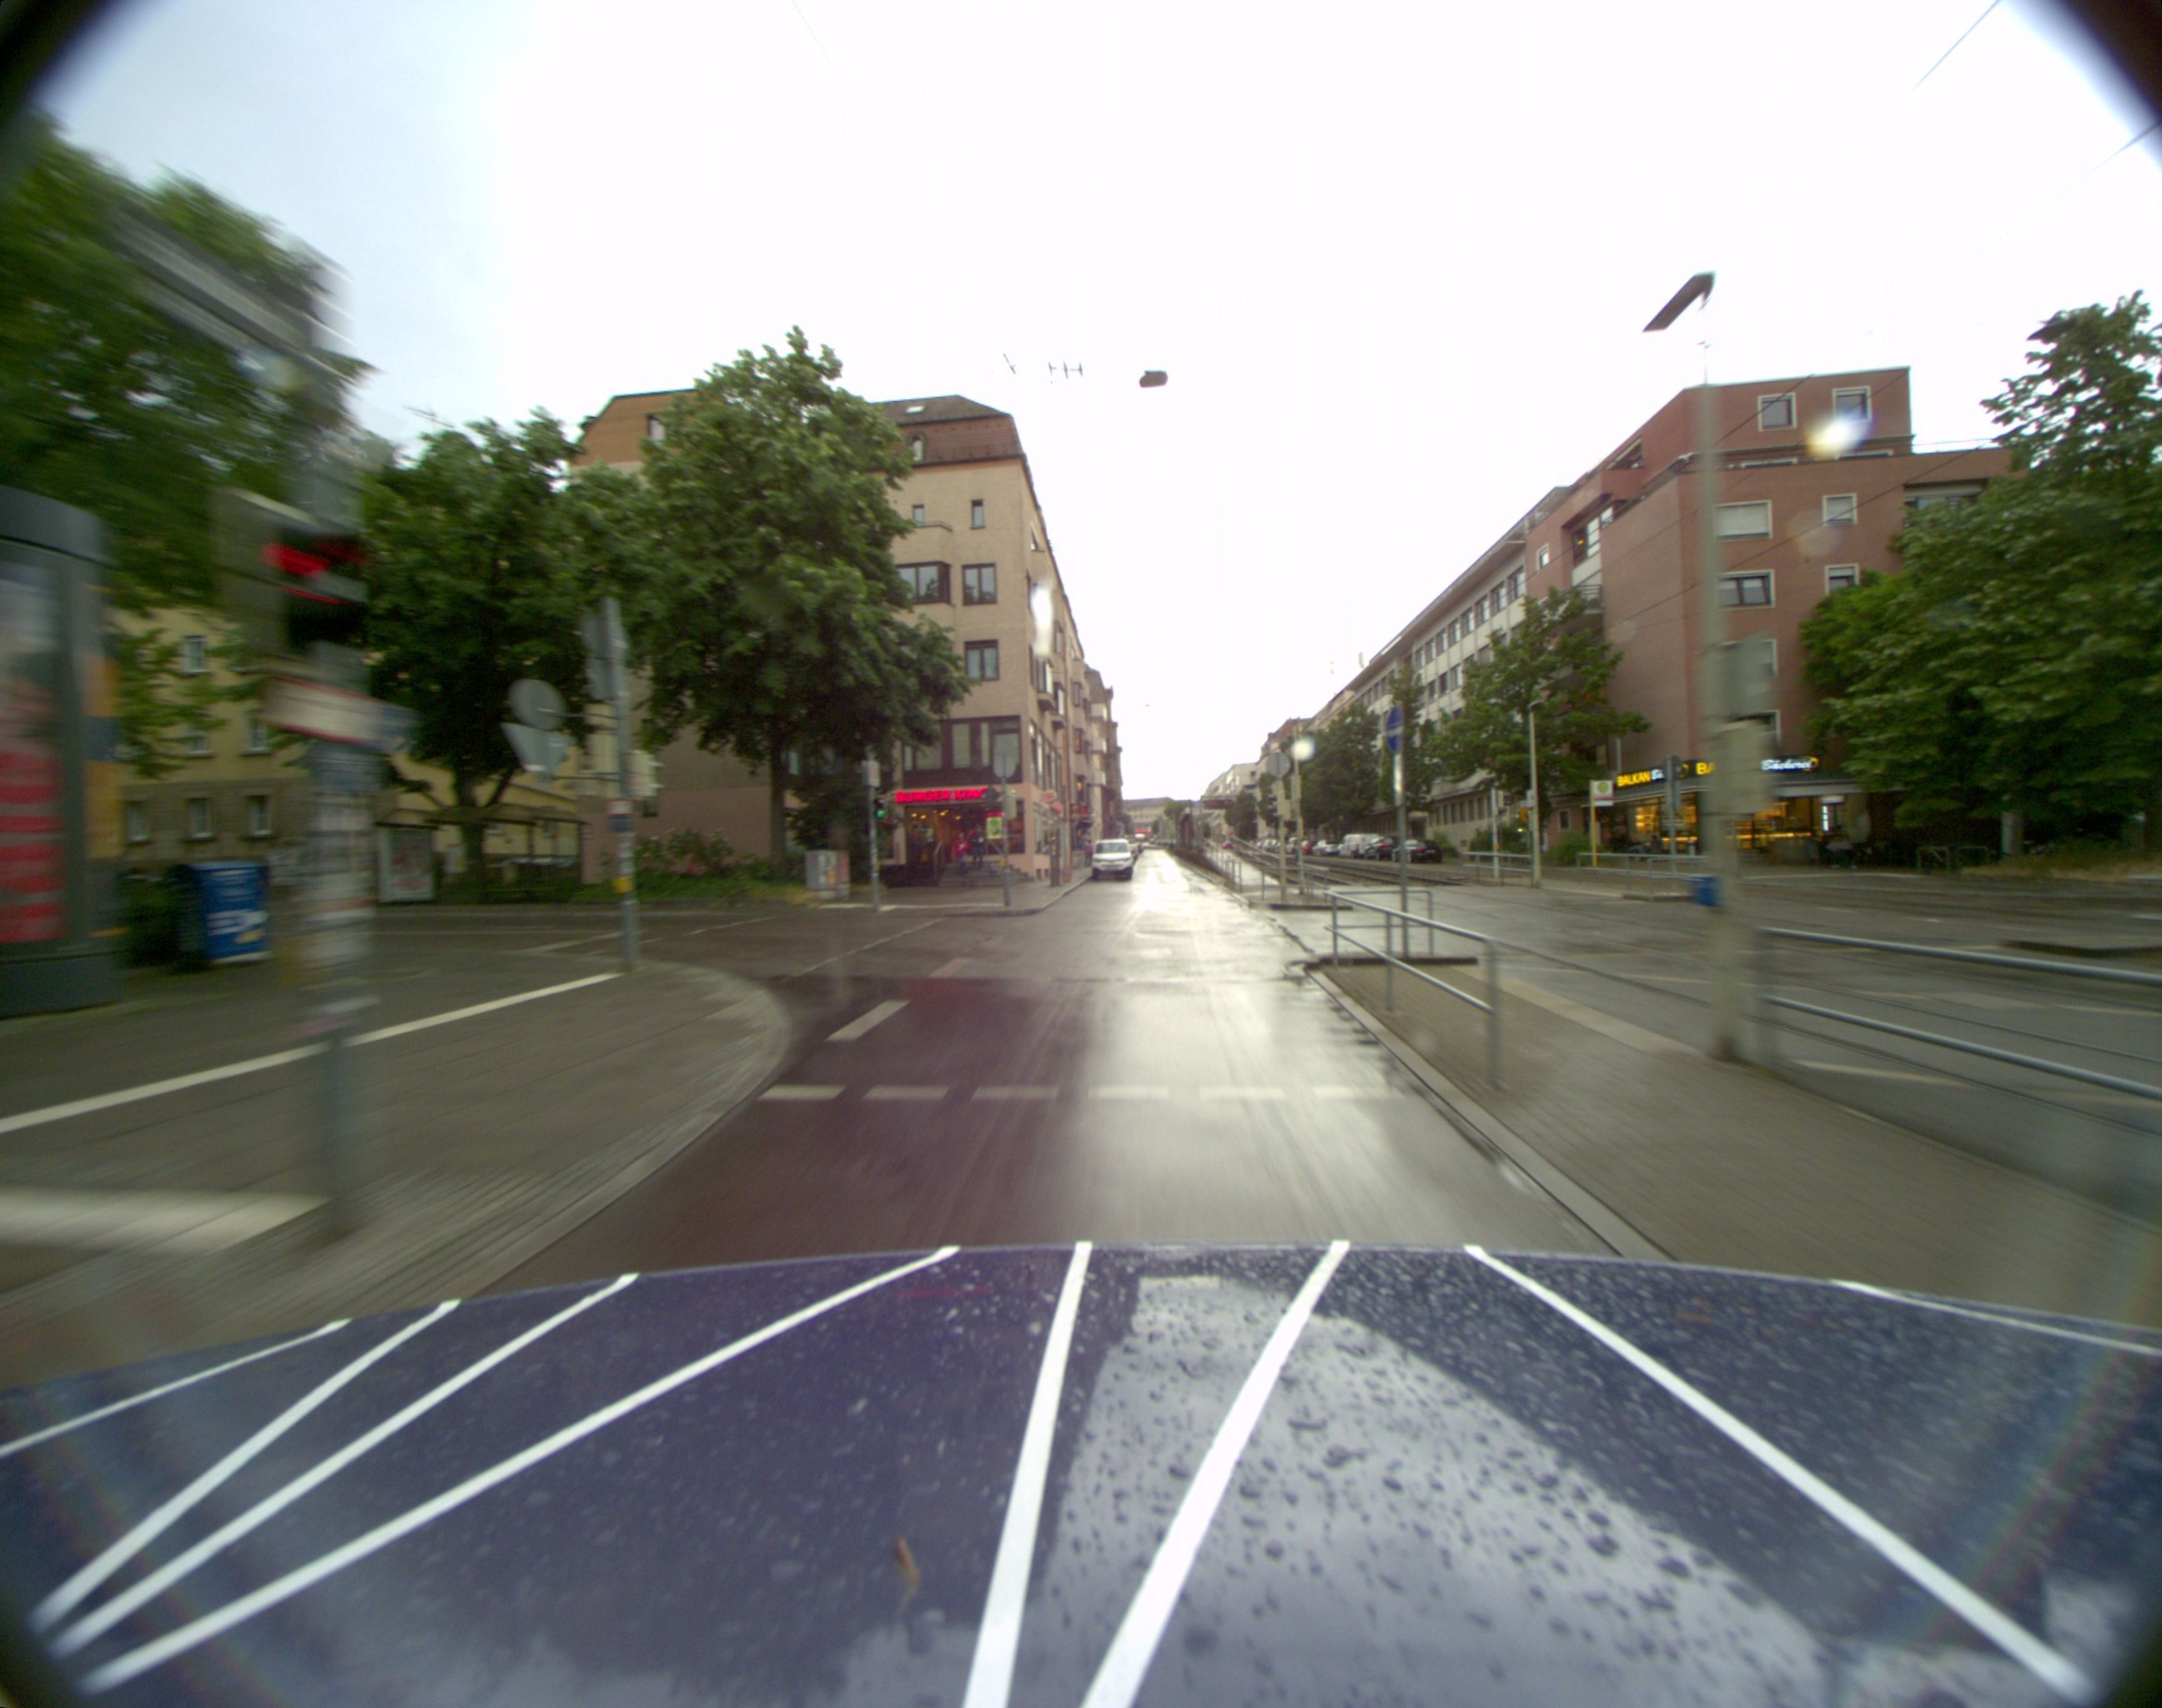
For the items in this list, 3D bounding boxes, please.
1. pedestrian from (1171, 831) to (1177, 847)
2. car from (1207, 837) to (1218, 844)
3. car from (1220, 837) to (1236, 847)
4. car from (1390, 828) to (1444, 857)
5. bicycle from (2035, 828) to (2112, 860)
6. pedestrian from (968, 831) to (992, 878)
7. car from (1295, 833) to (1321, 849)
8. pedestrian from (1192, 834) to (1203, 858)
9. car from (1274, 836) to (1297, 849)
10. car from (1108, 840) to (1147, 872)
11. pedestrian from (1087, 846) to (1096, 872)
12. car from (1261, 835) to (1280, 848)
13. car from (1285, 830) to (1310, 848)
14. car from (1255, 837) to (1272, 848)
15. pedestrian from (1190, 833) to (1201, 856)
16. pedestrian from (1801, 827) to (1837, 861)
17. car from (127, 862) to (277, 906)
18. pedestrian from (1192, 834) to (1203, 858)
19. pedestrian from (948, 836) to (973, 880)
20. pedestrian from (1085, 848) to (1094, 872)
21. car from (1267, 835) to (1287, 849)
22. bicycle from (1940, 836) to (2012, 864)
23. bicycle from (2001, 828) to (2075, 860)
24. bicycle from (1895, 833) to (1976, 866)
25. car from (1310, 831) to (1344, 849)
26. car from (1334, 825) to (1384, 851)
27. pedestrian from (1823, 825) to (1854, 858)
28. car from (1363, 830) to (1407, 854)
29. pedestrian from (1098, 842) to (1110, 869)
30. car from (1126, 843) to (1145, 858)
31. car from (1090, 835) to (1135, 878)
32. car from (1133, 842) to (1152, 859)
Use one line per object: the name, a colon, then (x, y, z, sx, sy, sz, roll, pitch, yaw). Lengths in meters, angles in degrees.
pedestrian: (10.486, -1.655, 85.679, 0.653, 1.752, 0.882, -1, 1, 1)
car: (25.300, -2.548, 146.296, 1.642, 1.330, 3.736, -2, 1, 4)
car: (23.366, -1.942, 120.749, 1.696, 1.454, 4.530, -2, 1, 2)
car: (20.063, -0.715, 45.583, 1.642, 1.614, 4.372, -2, 1, 6)
bicycle: (29.557, -0.298, 22.665, 0.340, 0.898, 1.647, -1, 1, 8)
pedestrian: (-3.938, 0.016, 29.677, 0.597, 1.809, 0.665, -3, 2, -44)
car: (22.332, -1.262, 74.794, 1.642, 1.530, 3.804, -2, 1, 4)
pedestrian: (7.710, -0.536, 50.369, 0.584, 1.600, 0.701, -1, 1, 3)
car: (23.153, -1.281, 86.211, 1.642, 1.432, 4.730, -2, 1, 4)
car: (2.597, 0.081, 41.698, 1.910, 1.606, 4.414, -2, 1, 6)
pedestrian: (0.730, 0.345, 53.017, 0.530, 1.848, 0.556, -1, 1, -2)
car: (24.371, -1.581, 97.731, 1.661, 1.575, 4.339, -2, 1, 4)
car: (22.945, -1.602, 80.633, 1.677, 1.807, 4.433, -2, 1, 4)
car: (24.827, -1.533, 103.578, 1.717, 1.367, 4.459, -2, 1, 7)
pedestrian: (8.493, -0.704, 56.213, 0.712, 1.684, 0.701, -1, 1, 3)
pedestrian: (26.086, -0.358, 26.865, 0.677, 1.171, 0.608, -1, 1, 10)
car: (-31.533, 1.066, 27.311, 3.669, 1.447, 1.674, -1, 1, 6)
pedestrian: (7.598, -0.501, 49.667, 0.584, 1.549, 0.701, -1, 1, 3)
pedestrian: (-4.623, 0.153, 29.167, 0.627, 1.640, 0.723, -2, 2, -44)
pedestrian: (0.582, 0.434, 53.589, 0.546, 1.671, 0.595, -1, 1, -2)
car: (23.573, -1.425, 91.439, 1.642, 1.529, 4.023, -2, 1, 6)
bicycle: (26.922, -0.132, 22.895, 0.340, 0.811, 1.647, -1, 1, 5)
bicycle: (28.620, -0.308, 22.760, 0.340, 0.905, 1.647, -1, 1, 8)
bicycle: (25.907, -0.156, 23.091, 0.481, 0.953, 1.873, -1, 1, 5)
car: (21.620, -1.199, 66.864, 1.696, 1.454, 4.530, -2, 1, 2)
car: (21.047, -1.192, 57.795, 1.911, 1.834, 5.257, -2, 1, 1)
pedestrian: (27.509, -0.449, 27.586, 0.679, 1.171, 0.607, -2, 1, -27)
car: (20.614, -0.820, 51.699, 1.642, 1.527, 4.372, -2, 1, 6)
pedestrian: (1.529, 0.088, 50.868, 0.757, 1.809, 0.588, -1, 1, 6)
car: (5.365, -0.368, 74.441, 1.720, 1.454, 3.446, -2, 1, 6)
car: (1.516, 0.069, 35.446, 1.911, 1.796, 4.778, -2, 1, 3)
car: (5.510, -0.311, 67.850, 1.649, 1.454, 3.415, -2, 1, 6)
